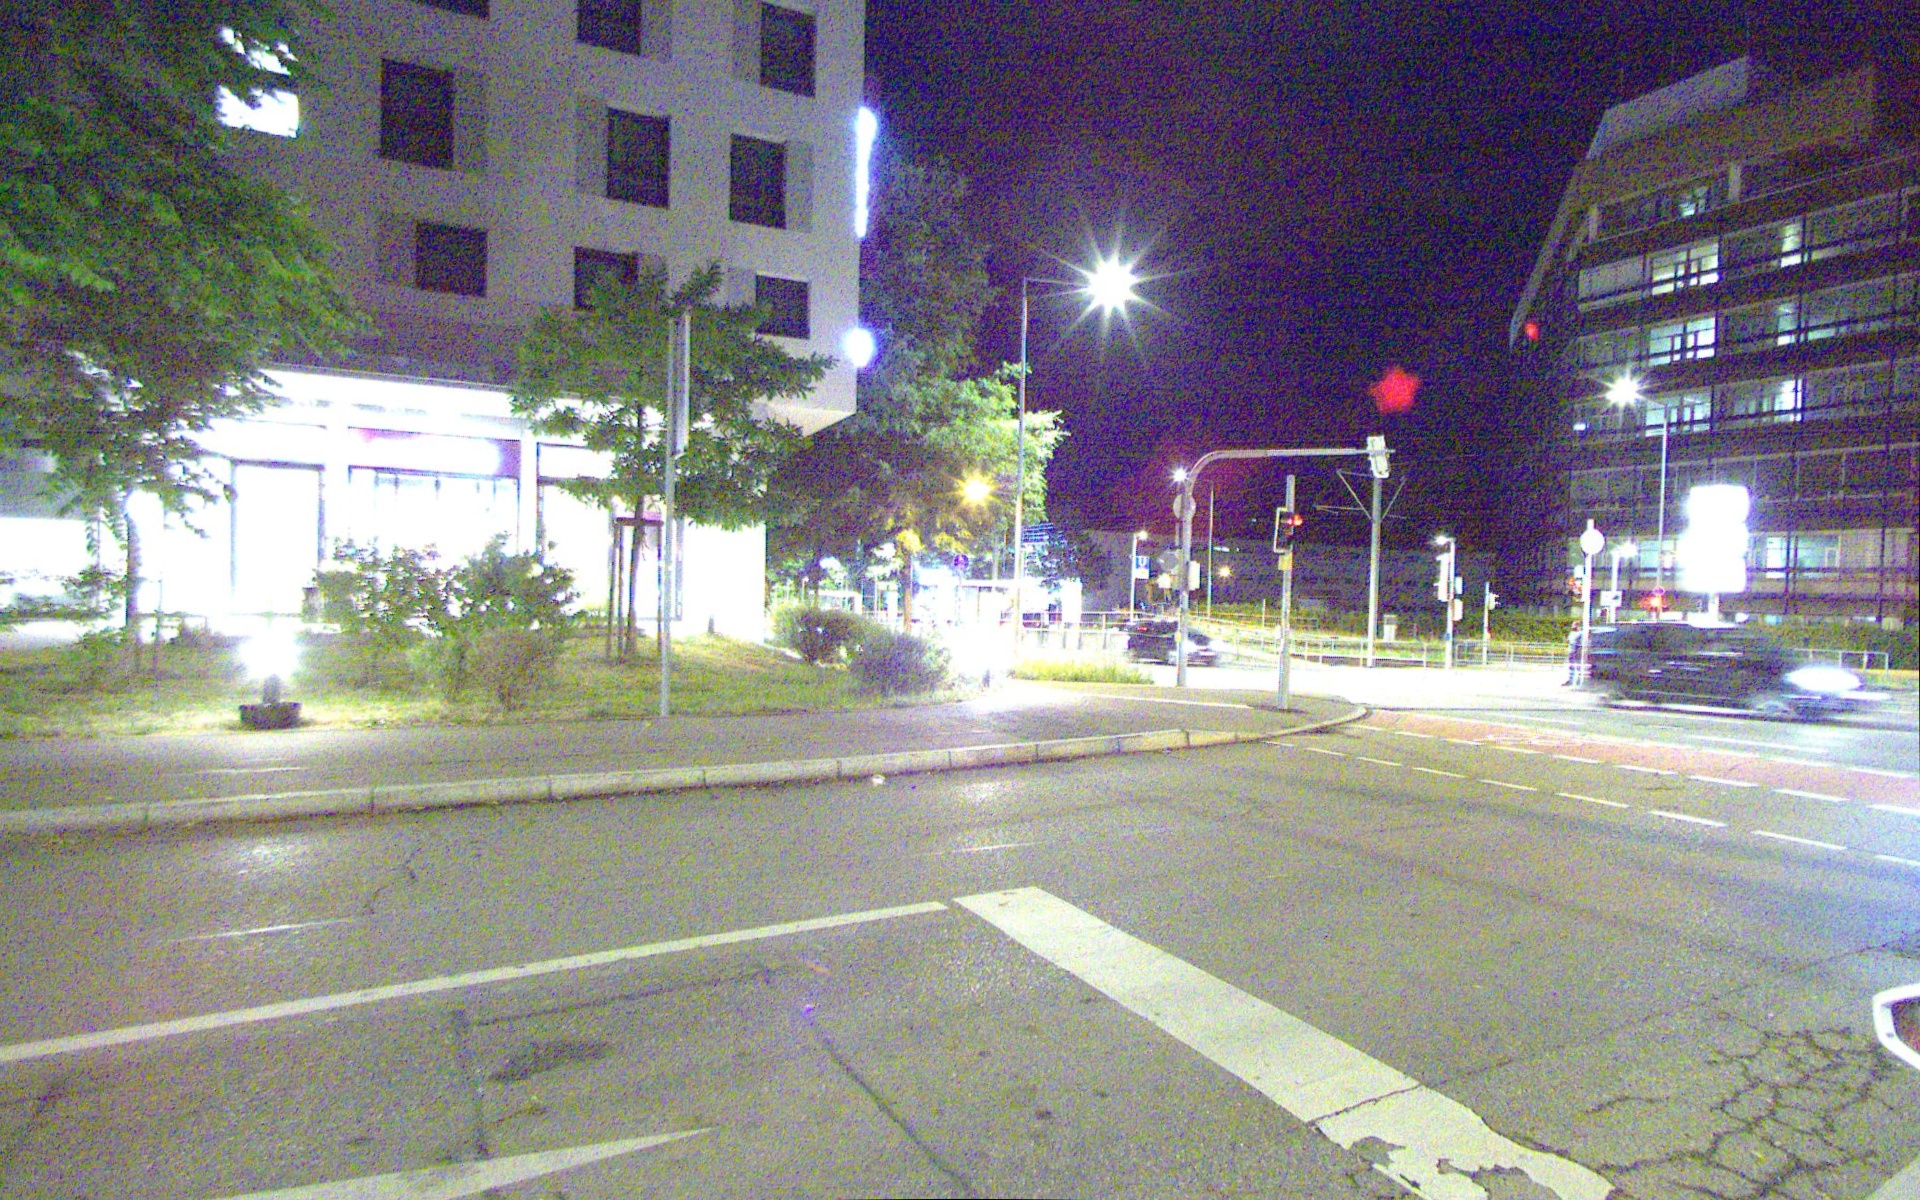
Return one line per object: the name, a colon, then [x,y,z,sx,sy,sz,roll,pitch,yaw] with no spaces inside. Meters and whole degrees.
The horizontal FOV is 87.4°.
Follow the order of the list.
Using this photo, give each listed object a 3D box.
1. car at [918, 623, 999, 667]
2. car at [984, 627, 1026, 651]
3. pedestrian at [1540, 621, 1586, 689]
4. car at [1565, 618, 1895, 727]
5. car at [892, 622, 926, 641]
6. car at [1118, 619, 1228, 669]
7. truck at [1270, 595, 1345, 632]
car: [-0.126,1.793,40.773,1.786,1.684,3.975,2,-2,-25]
car: [3.975,3.491,89.293,1.976,2.040,3.971,2,-3,-29]
pedestrian: [15.353,1.391,25.591,0.854,1.656,0.665,2,0,-34]
car: [13.401,1.171,17.812,1.787,1.673,4.328,2,-2,-27]
car: [-5.287,3.238,104.360,1.820,1.837,4.134,3,-1,-29]
car: [7.849,1.576,37.452,1.837,1.681,4.436,0,-1,-23]
truck: [30.909,1.172,89.558,2.877,3.129,5.873,2,0,-28]
